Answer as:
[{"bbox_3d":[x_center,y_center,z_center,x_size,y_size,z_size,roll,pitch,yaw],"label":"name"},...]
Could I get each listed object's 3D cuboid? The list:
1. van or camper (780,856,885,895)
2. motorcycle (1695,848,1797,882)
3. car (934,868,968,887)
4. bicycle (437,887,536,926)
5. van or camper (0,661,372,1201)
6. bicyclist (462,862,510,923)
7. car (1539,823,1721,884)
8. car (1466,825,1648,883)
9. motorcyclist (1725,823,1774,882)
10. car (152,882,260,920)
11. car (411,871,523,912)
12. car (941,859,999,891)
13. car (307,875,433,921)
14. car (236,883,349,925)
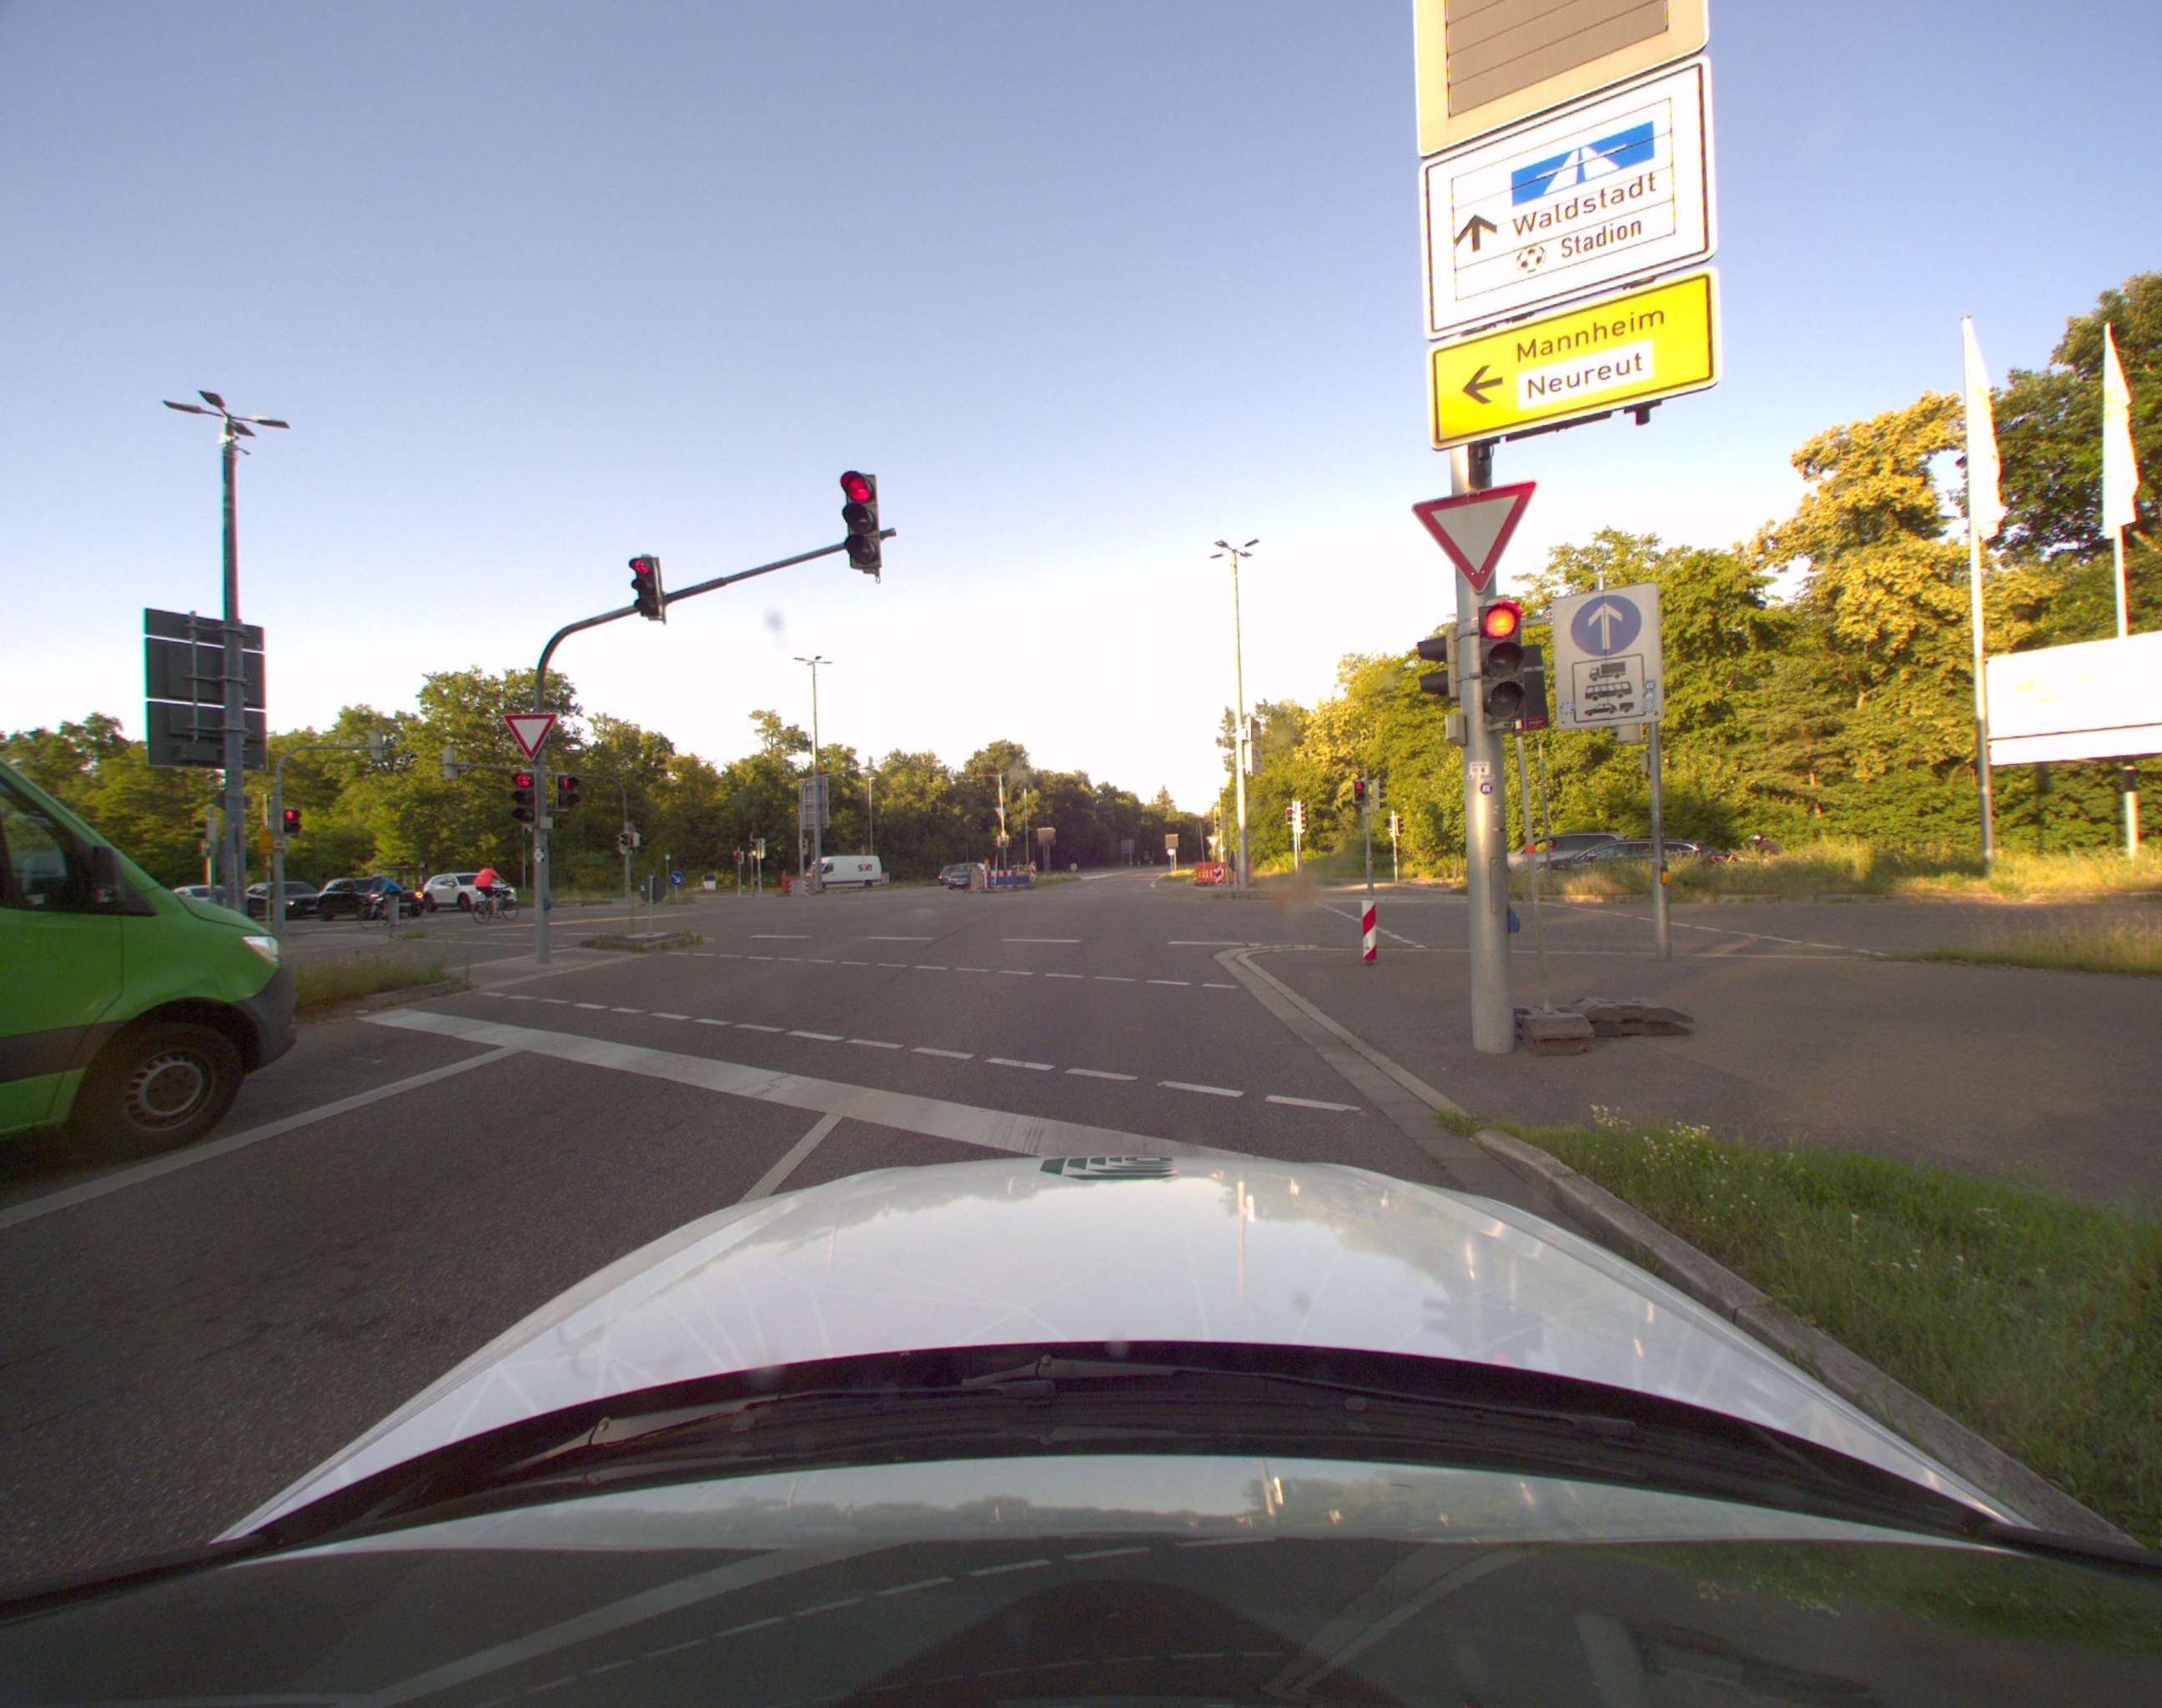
[{"bbox_3d":[-18.203,1.528,60.077,2.857,2.652,7.167,-2,0,32],"label":"van or camper"},{"bbox_3d":[18.778,0.310,23.047,2.125,0.910,0.666,-2,-1,23],"label":"motorcycle"},{"bbox_3d":[-12.299,2.219,77.221,1.982,1.640,4.009,-2,0,8],"label":"car"},{"bbox_3d":[-18.789,1.636,25.849,0.761,1.031,2.658,-2,0,13],"label":"bicycle"},{"bbox_3d":[-5.859,0.363,2.563,1.987,2.421,5.896,-2,0,1],"label":"van or camper"},{"bbox_3d":[-18.838,1.206,25.796,0.670,1.879,0.983,-2,-1,12],"label":"bicyclist"},{"bbox_3d":[14.759,0.007,22.170,3.827,1.489,1.781,-2,0,24],"label":"car"},{"bbox_3d":[15.031,0.026,26.078,4.773,1.598,2.011,-2,0,23],"label":"car"},{"bbox_3d":[18.875,-0.038,22.996,0.878,1.595,0.658,-2,-1,23],"label":"motorcyclist"},{"bbox_3d":[-41.280,2.213,38.417,4.207,1.640,2.011,-2,0,21],"label":"car"},{"bbox_3d":[-26.758,1.643,35.503,4.206,1.640,2.011,-2,0,23],"label":"car"},{"bbox_3d":[-6.589,1.233,48.810,1.979,1.640,4.016,-3,0,14],"label":"car"},{"bbox_3d":[-27.552,1.700,31.563,4.206,1.640,2.011,-2,0,23],"label":"car"},{"bbox_3d":[-33.923,2.156,35.038,4.205,1.640,2.011,-2,0,23],"label":"car"}]
